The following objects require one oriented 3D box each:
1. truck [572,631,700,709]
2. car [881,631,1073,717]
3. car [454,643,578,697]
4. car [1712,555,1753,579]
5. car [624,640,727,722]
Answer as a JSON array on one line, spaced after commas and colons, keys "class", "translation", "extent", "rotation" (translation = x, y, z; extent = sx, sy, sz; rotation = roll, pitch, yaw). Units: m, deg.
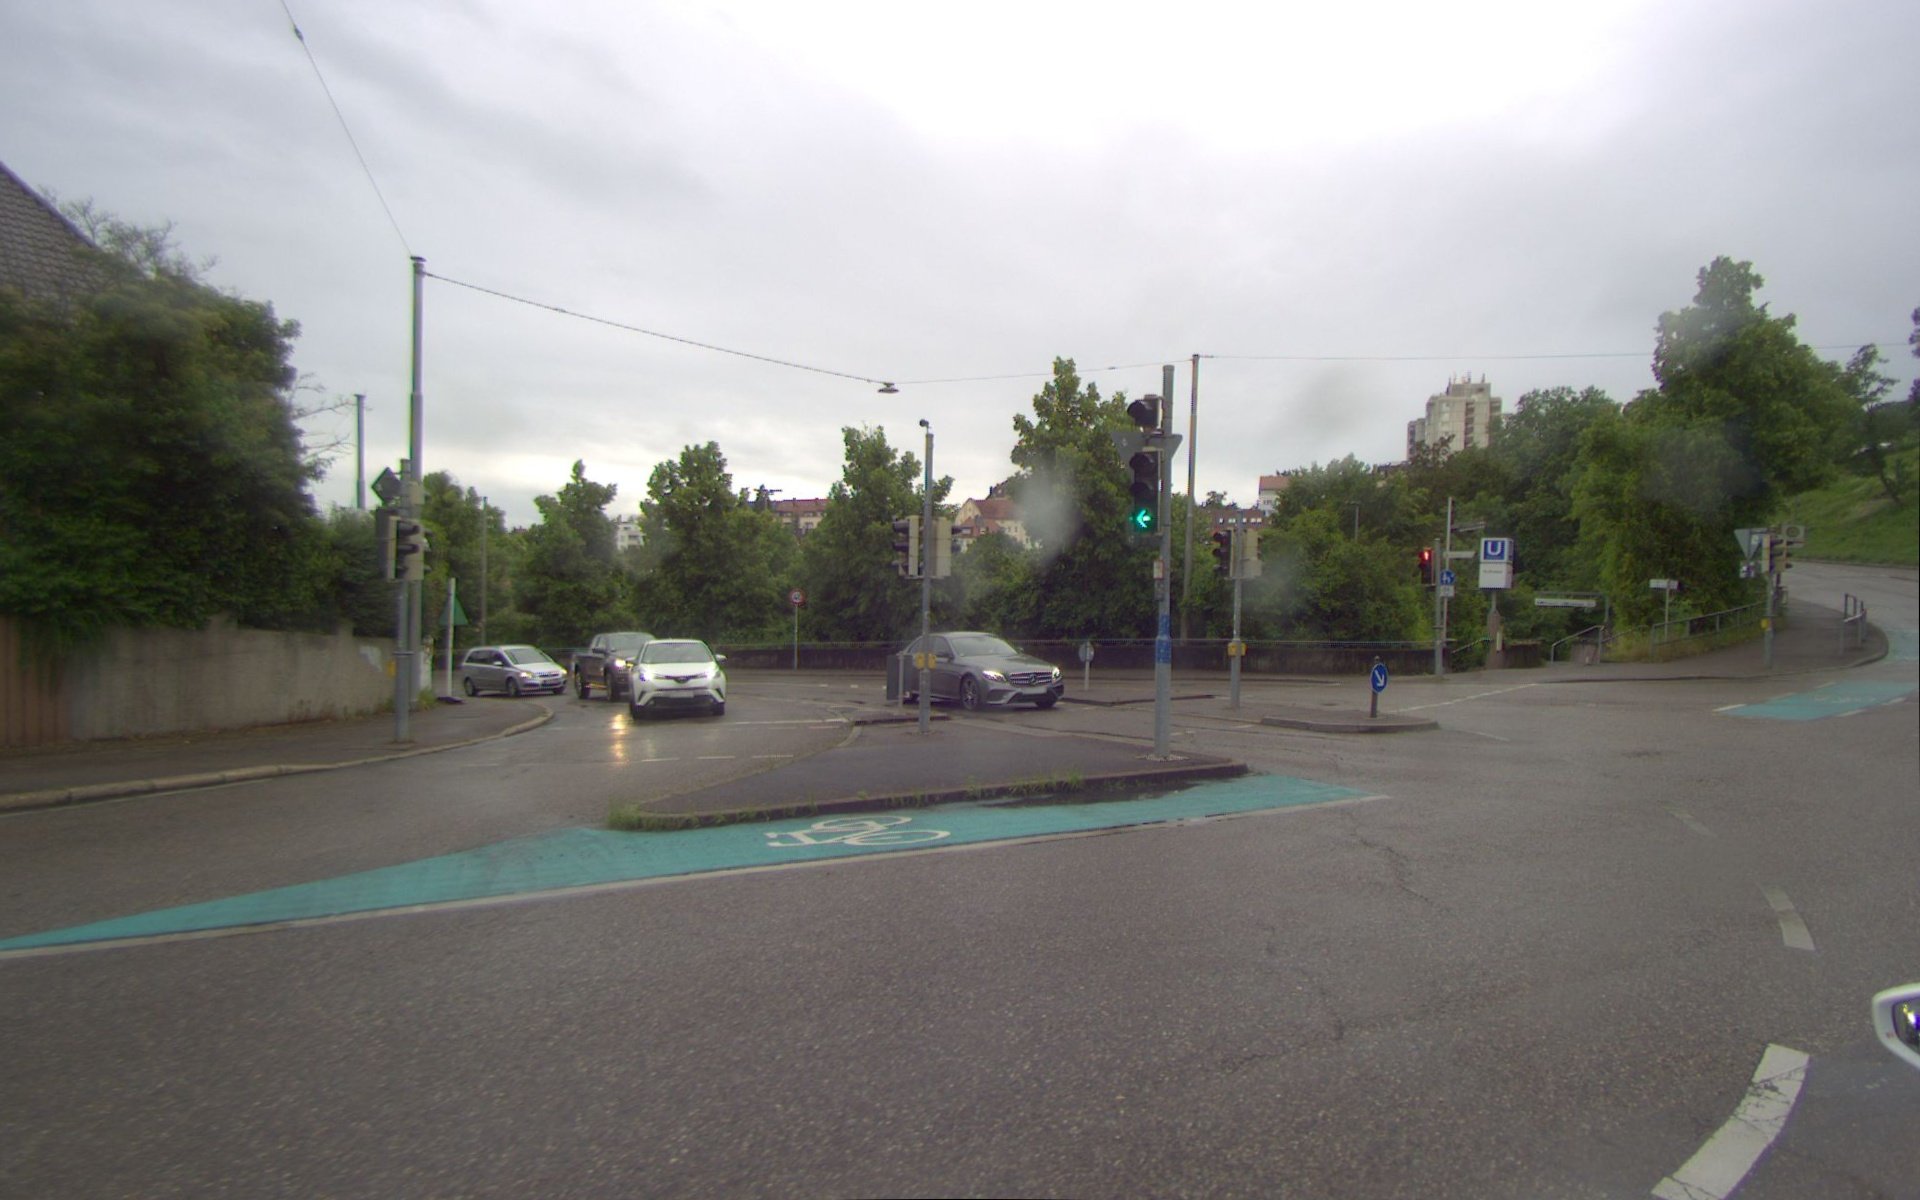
[{"class": "truck", "translation": [-8.958, 1.818, 27.450], "extent": [1.870, 1.873, 5.229], "rotation": [0, -2, -35]}, {"class": "car", "translation": [0.189, 1.388, 20.163], "extent": [1.842, 1.414, 4.563], "rotation": [-2, -1, -28]}, {"class": "car", "translation": [-14.475, 2.276, 32.653], "extent": [4.389, 1.606, 1.710], "rotation": [-4, -3, 36]}, {"class": "car", "translation": [58.477, -2.508, 76.089], "extent": [1.809, 1.714, 3.992], "rotation": [-1, 3, 29]}, {"class": "car", "translation": [-5.973, 1.581, 20.810], "extent": [1.687, 1.486, 4.240], "rotation": [0, -2, -21]}]
